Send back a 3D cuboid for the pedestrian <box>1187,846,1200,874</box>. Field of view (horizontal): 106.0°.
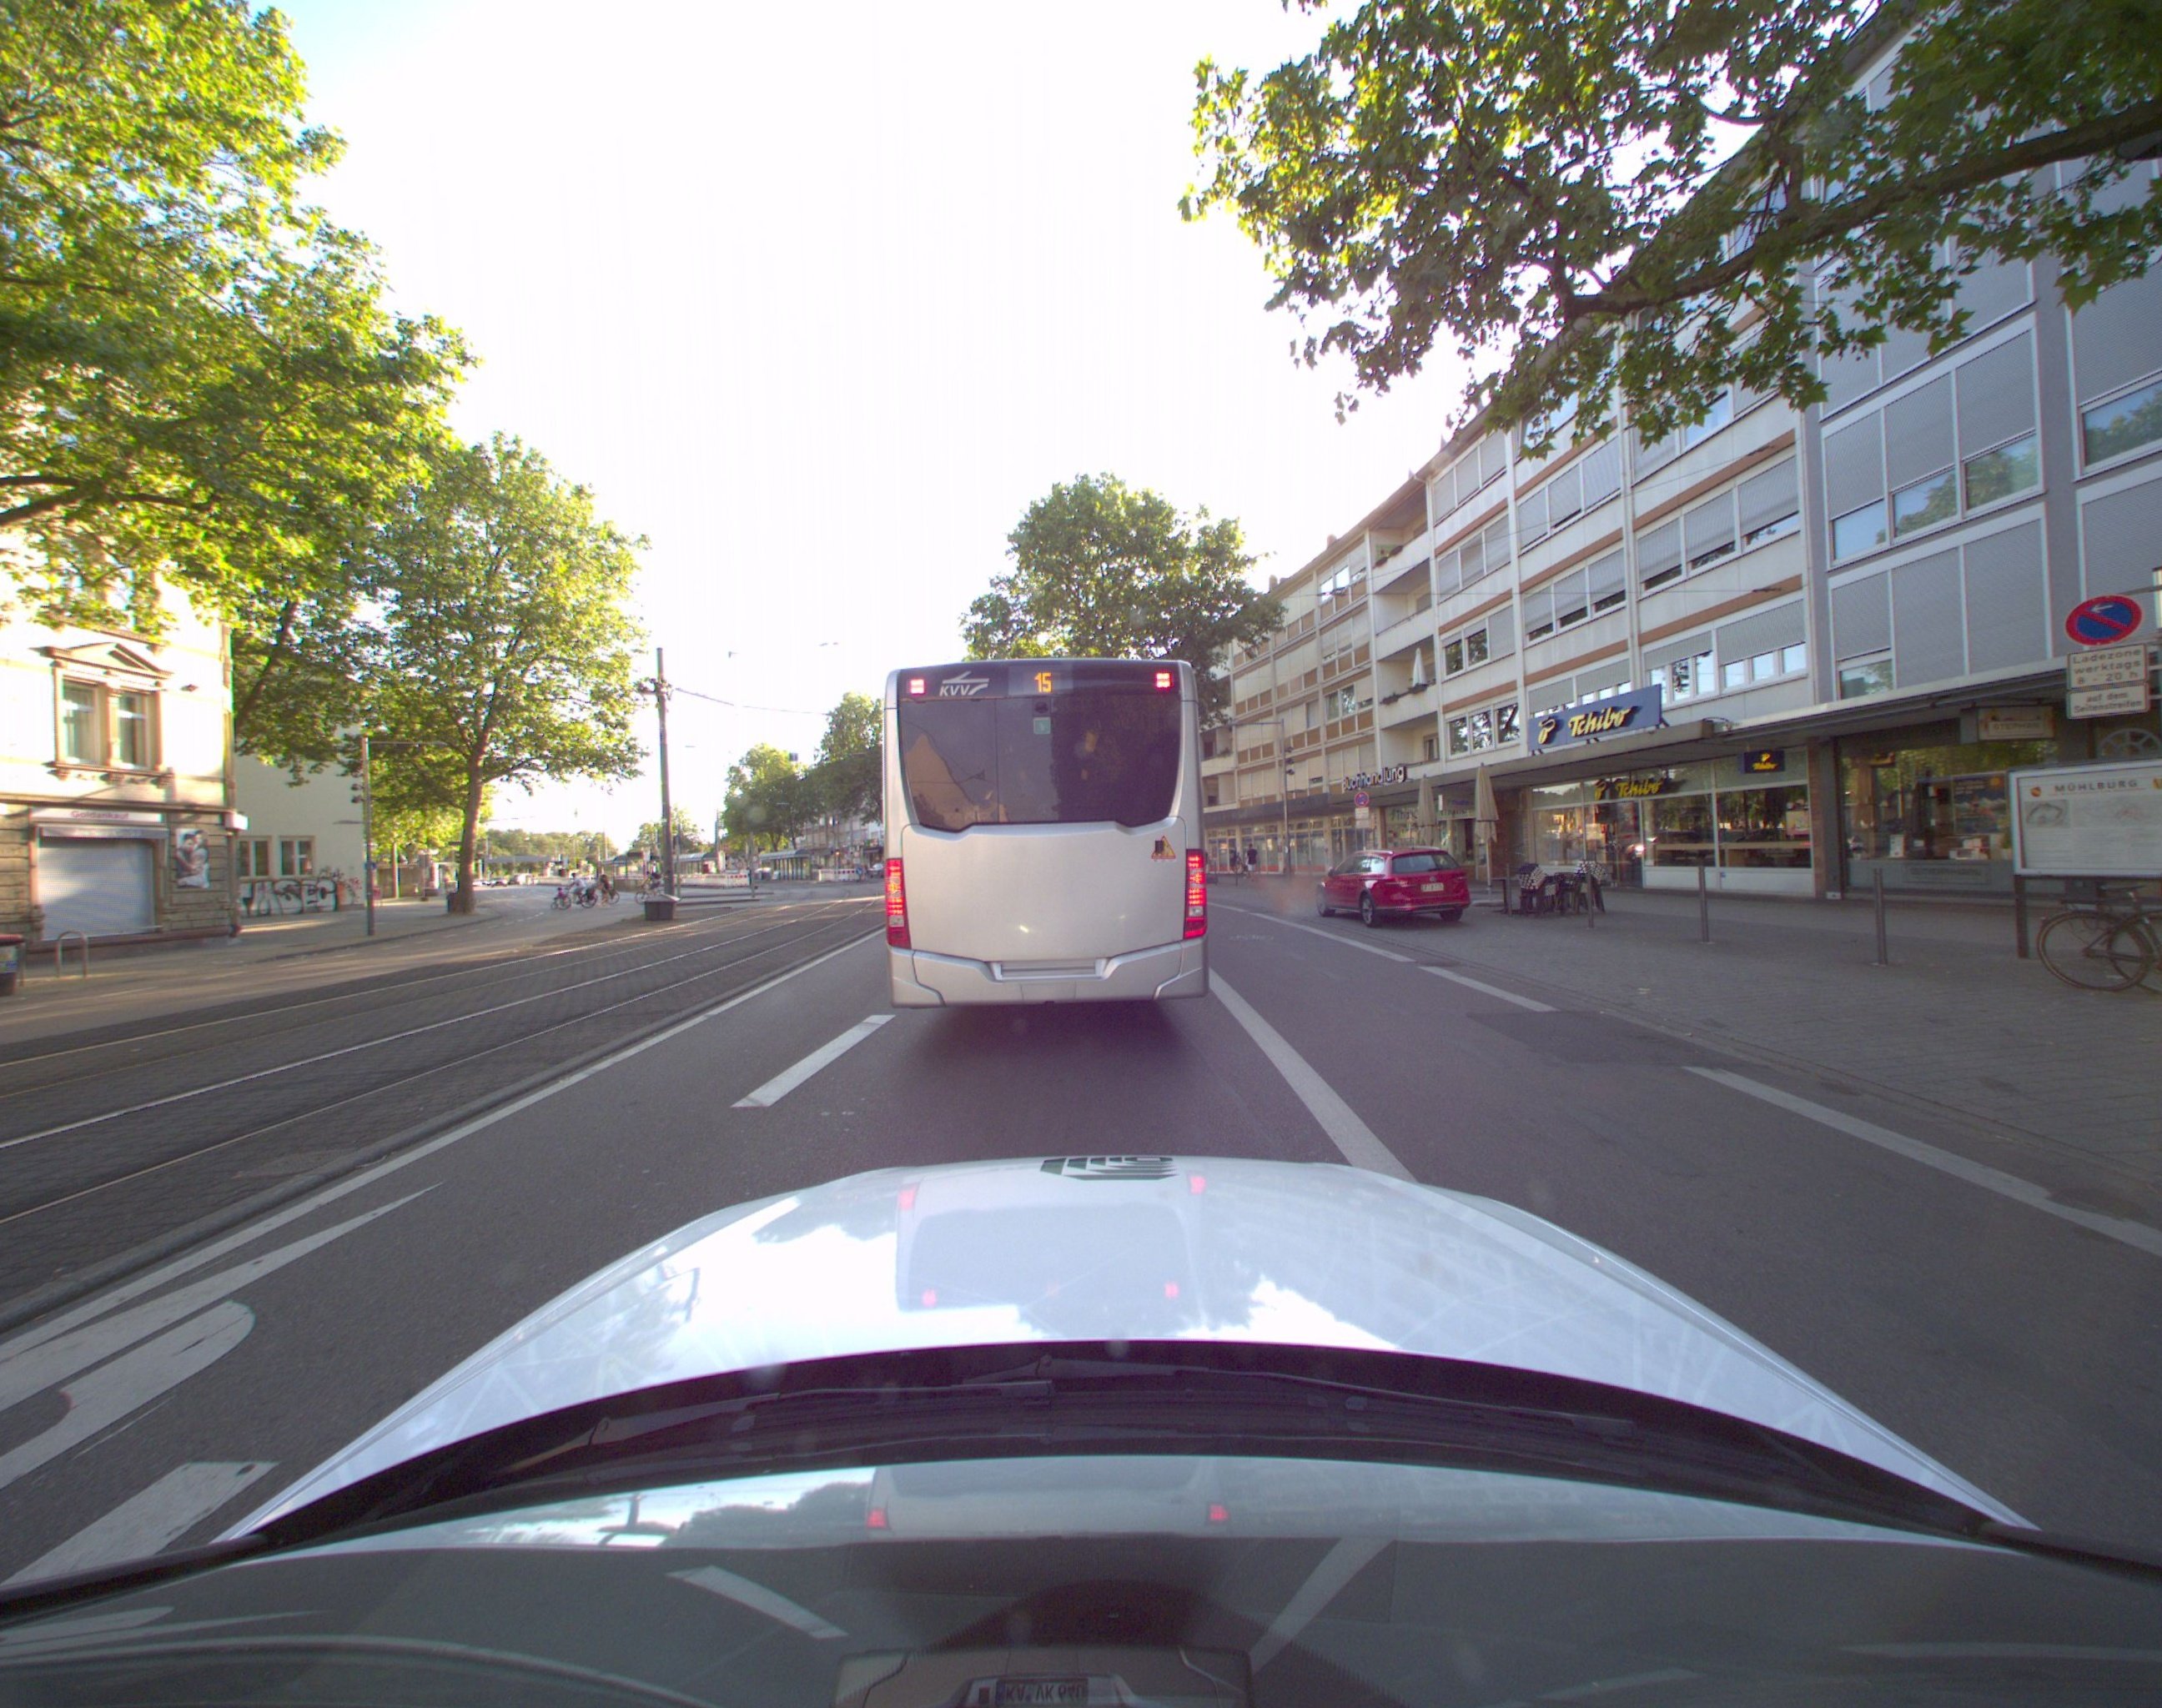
[{"bbox_3d":[6.859,0.360,49.843,0.536,1.648,0.612,-2,-1,-15],"label":"pedestrian"}]

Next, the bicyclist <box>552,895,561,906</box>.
[{"bbox_3d":[-27.176,2.412,42.217,0.309,0.590,0.278,-2,-1,-20],"label":"bicyclist"}]

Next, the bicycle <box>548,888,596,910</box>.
[{"bbox_3d":[-25.678,2.271,41.118,1.916,1.005,0.615,-2,0,-23],"label":"bicycle"}]

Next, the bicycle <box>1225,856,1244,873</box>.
[{"bbox_3d":[8.890,0.629,47.335,0.413,0.945,1.431,-2,0,-18],"label":"bicycle"}]

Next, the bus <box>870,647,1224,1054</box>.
[{"bbox_3d":[-0.119,-0.010,11.144,2.621,3.028,10.000,-1,0,2],"label":"bus"}]

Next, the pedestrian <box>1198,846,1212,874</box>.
[{"bbox_3d":[7.275,0.359,47.759,0.536,1.648,0.612,-2,-1,-15],"label":"pedestrian"}]

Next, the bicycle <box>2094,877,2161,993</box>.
[{"bbox_3d":[9.165,0.654,6.200,0.391,0.919,1.766,-4,0,-18],"label":"bicycle"}]

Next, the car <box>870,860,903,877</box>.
[{"bbox_3d":[-21.358,1.560,89.395,2.010,1.792,3.954,0,-1,-39],"label":"car"}]

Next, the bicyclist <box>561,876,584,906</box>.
[{"bbox_3d":[-25.686,1.852,41.127,0.843,1.444,0.622,-2,-1,-23],"label":"bicyclist"}]

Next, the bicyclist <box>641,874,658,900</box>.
[{"bbox_3d":[-22.093,1.681,41.717,0.640,1.293,0.454,-2,-1,-17],"label":"bicyclist"}]

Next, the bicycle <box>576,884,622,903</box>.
[{"bbox_3d":[-26.412,2.175,44.630,2.020,0.937,0.757,-1,-1,-13],"label":"bicycle"}]

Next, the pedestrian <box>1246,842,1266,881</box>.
[{"bbox_3d":[7.824,0.333,36.396,0.646,1.717,0.557,-2,-1,-14],"label":"pedestrian"}]

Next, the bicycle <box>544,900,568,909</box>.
[{"bbox_3d":[-27.203,2.606,42.200,0.961,0.399,0.288,-2,0,-21],"label":"bicycle"}]

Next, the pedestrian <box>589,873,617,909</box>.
[{"bbox_3d":[-23.403,1.809,39.881,0.994,1.686,0.642,-1,-2,-10],"label":"pedestrian"}]

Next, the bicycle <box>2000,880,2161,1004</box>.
[{"bbox_3d":[8.650,0.696,6.453,0.391,0.939,1.766,-4,0,-18],"label":"bicycle"}]

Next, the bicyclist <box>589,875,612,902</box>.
[{"bbox_3d":[-26.348,1.881,44.658,0.840,1.444,0.753,-2,0,-13],"label":"bicyclist"}]

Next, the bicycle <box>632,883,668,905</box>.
[{"bbox_3d":[-22.072,2.046,41.716,1.509,0.985,0.448,-2,0,-18],"label":"bicycle"}]

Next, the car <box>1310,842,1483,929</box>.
[{"bbox_3d":[6.364,0.582,17.020,1.765,1.482,4.300,-3,0,-2],"label":"car"}]

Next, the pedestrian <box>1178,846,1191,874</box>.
[{"bbox_3d":[6.256,0.382,49.257,0.536,1.648,0.612,-2,-1,-15],"label":"pedestrian"}]

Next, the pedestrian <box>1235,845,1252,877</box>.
[{"bbox_3d":[8.178,0.353,40.986,0.646,1.581,0.557,-2,-1,-14],"label":"pedestrian"}]

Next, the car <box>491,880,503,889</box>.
[{"bbox_3d":[-111.981,5.770,156.266,1.784,1.615,3.579,-2,0,-36],"label":"car"}]

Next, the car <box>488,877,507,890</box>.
[{"bbox_3d":[-85.210,4.290,118.875,2.008,1.640,3.958,-2,0,-33],"label":"car"}]
